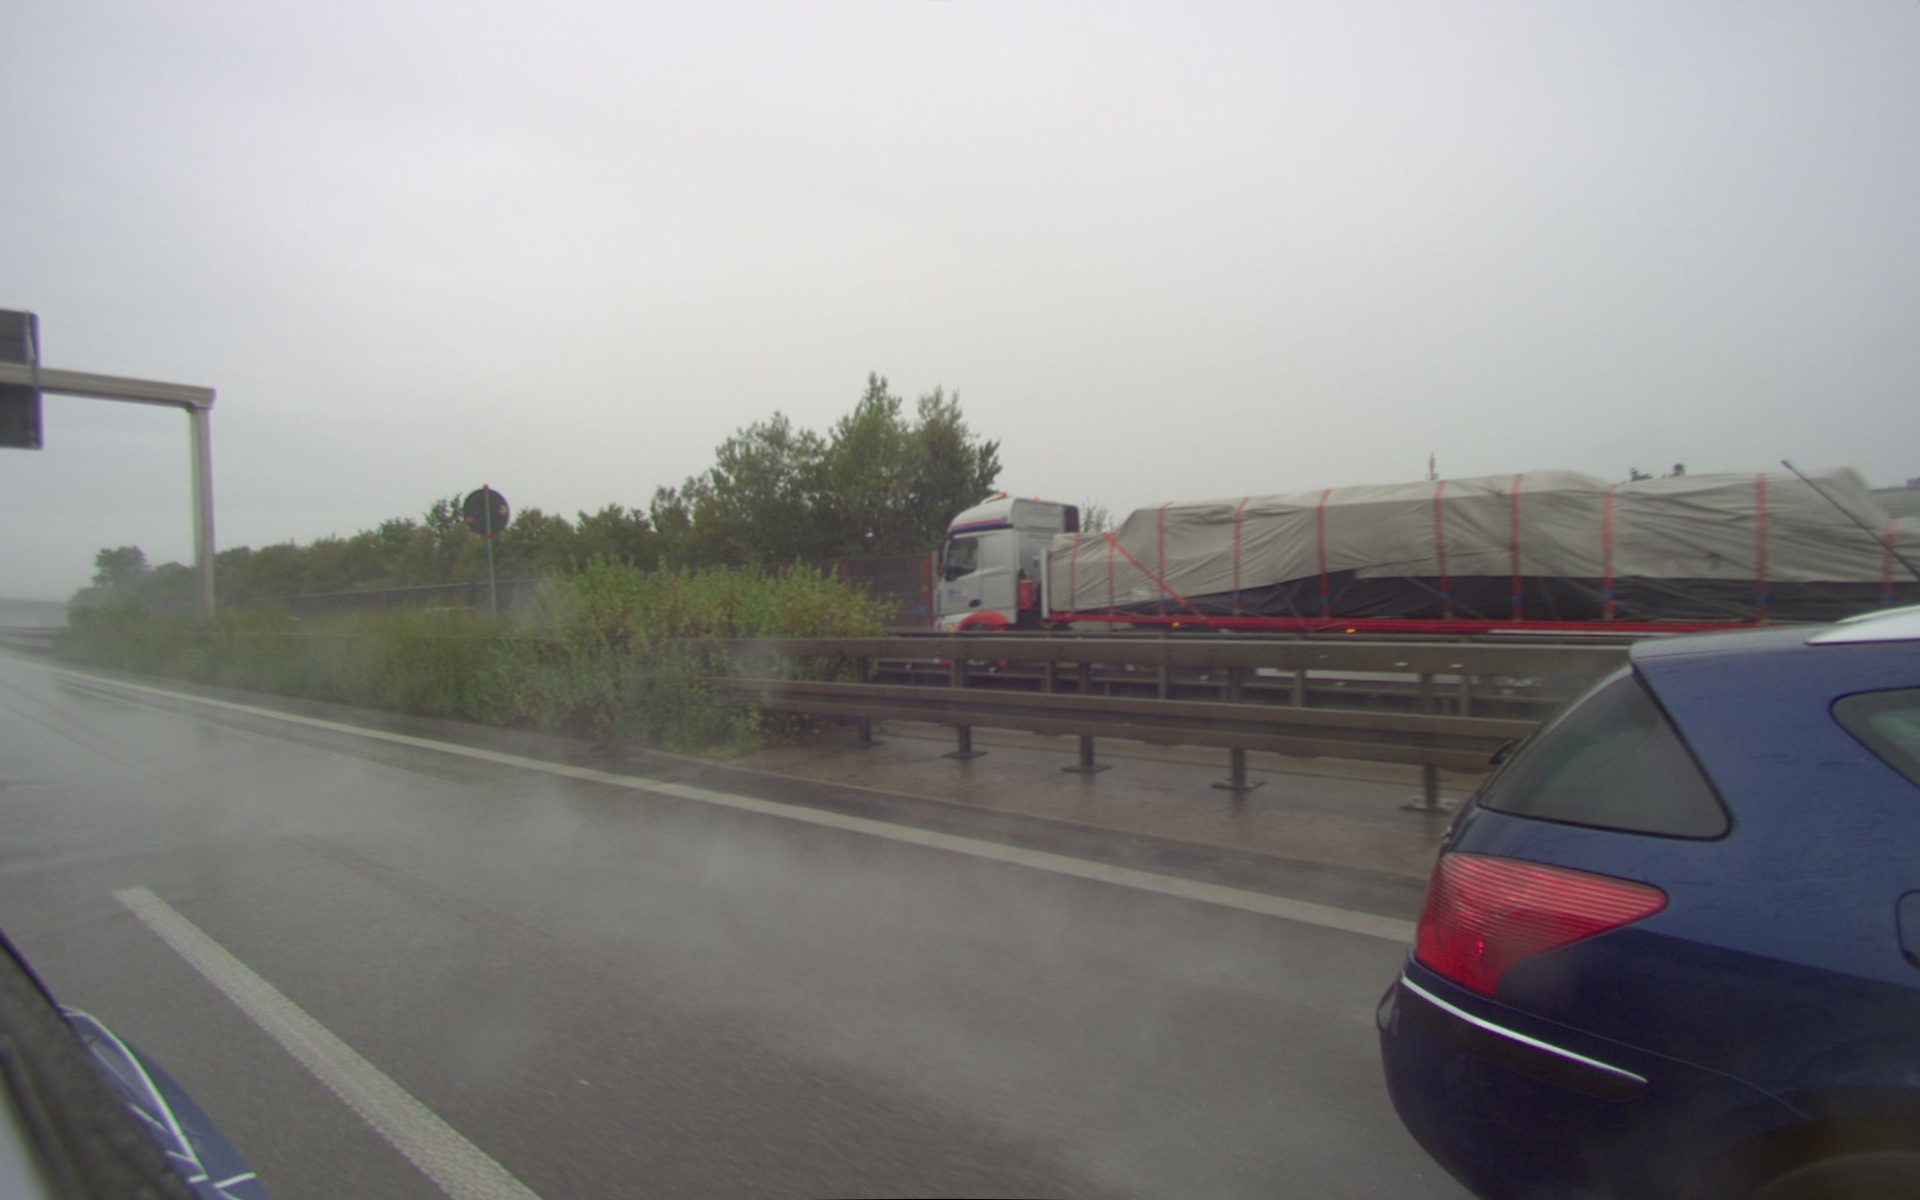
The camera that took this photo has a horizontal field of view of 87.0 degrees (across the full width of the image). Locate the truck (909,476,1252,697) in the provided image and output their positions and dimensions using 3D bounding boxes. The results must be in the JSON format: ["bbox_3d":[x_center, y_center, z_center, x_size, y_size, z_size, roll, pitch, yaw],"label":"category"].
[{"bbox_3d":[2.198,-0.162,19.656,5.996,3.627,2.951,-1,-1,40],"label":"truck"}]

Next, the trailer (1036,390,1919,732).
[{"bbox_3d":[7.518,-0.325,15.101,13.561,3.640,3.041,-1,-1,40],"label":"trailer"}]

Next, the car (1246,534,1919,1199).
[{"bbox_3d":[3.163,0.615,1.022,5.155,1.496,2.033,-2,-1,41],"label":"car"}]
